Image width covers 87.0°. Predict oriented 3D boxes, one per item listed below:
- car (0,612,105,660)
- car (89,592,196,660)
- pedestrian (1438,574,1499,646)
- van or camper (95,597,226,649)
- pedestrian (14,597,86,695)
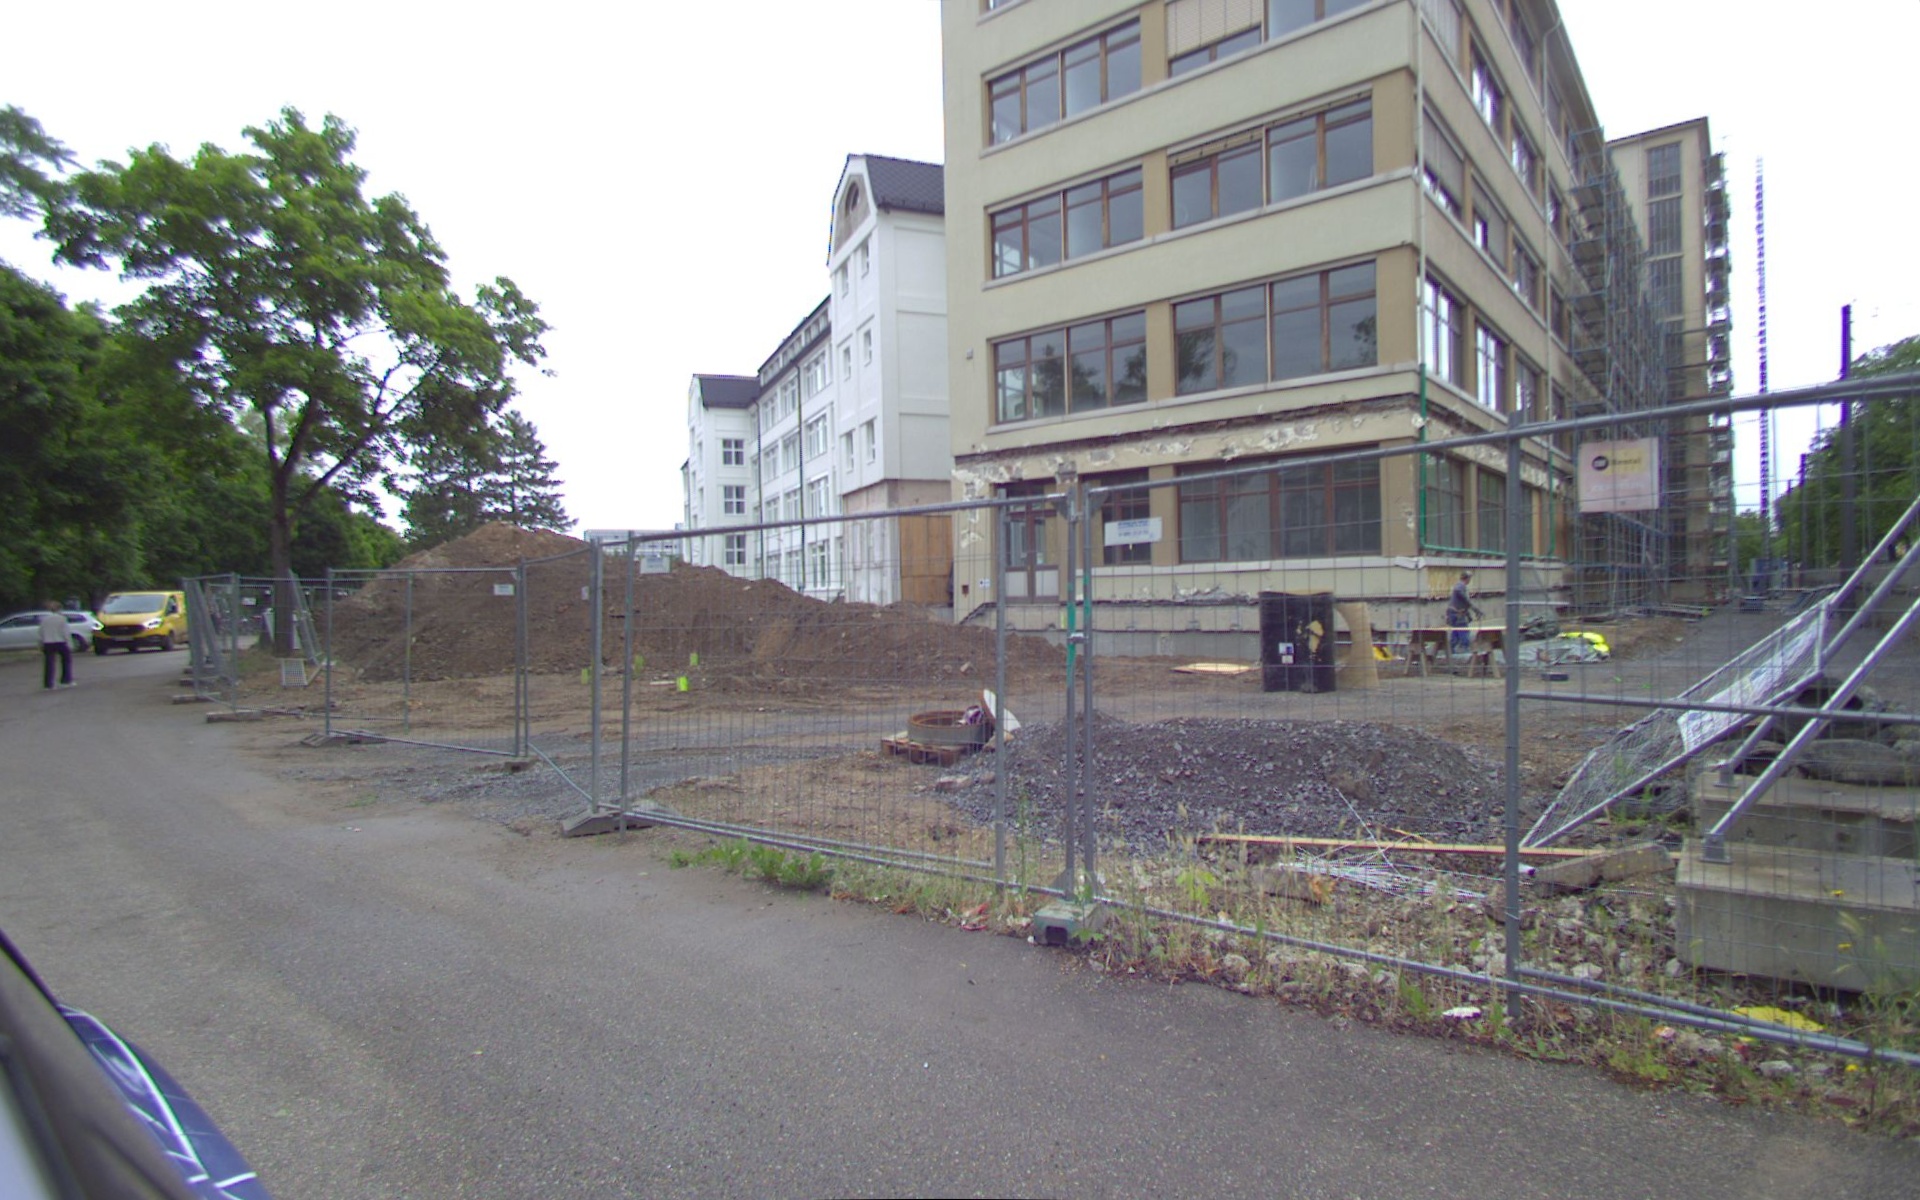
[{"bbox_3d":[-32.719,1.251,35.646,3.822,1.586,1.756,-1,0,-35],"label":"car"},{"bbox_3d":[-26.723,0.813,33.226,2.089,2.029,4.012,-1,0,-30],"label":"car"},{"bbox_3d":[10.493,0.196,20.914,0.975,1.448,0.925,-1,0,19],"label":"pedestrian"},{"bbox_3d":[-37.477,1.040,47.571,4.423,2.275,2.007,-1,0,-23],"label":"van or camper"},{"bbox_3d":[-17.068,0.847,18.994,0.657,1.795,0.747,-1,0,16],"label":"pedestrian"}]
